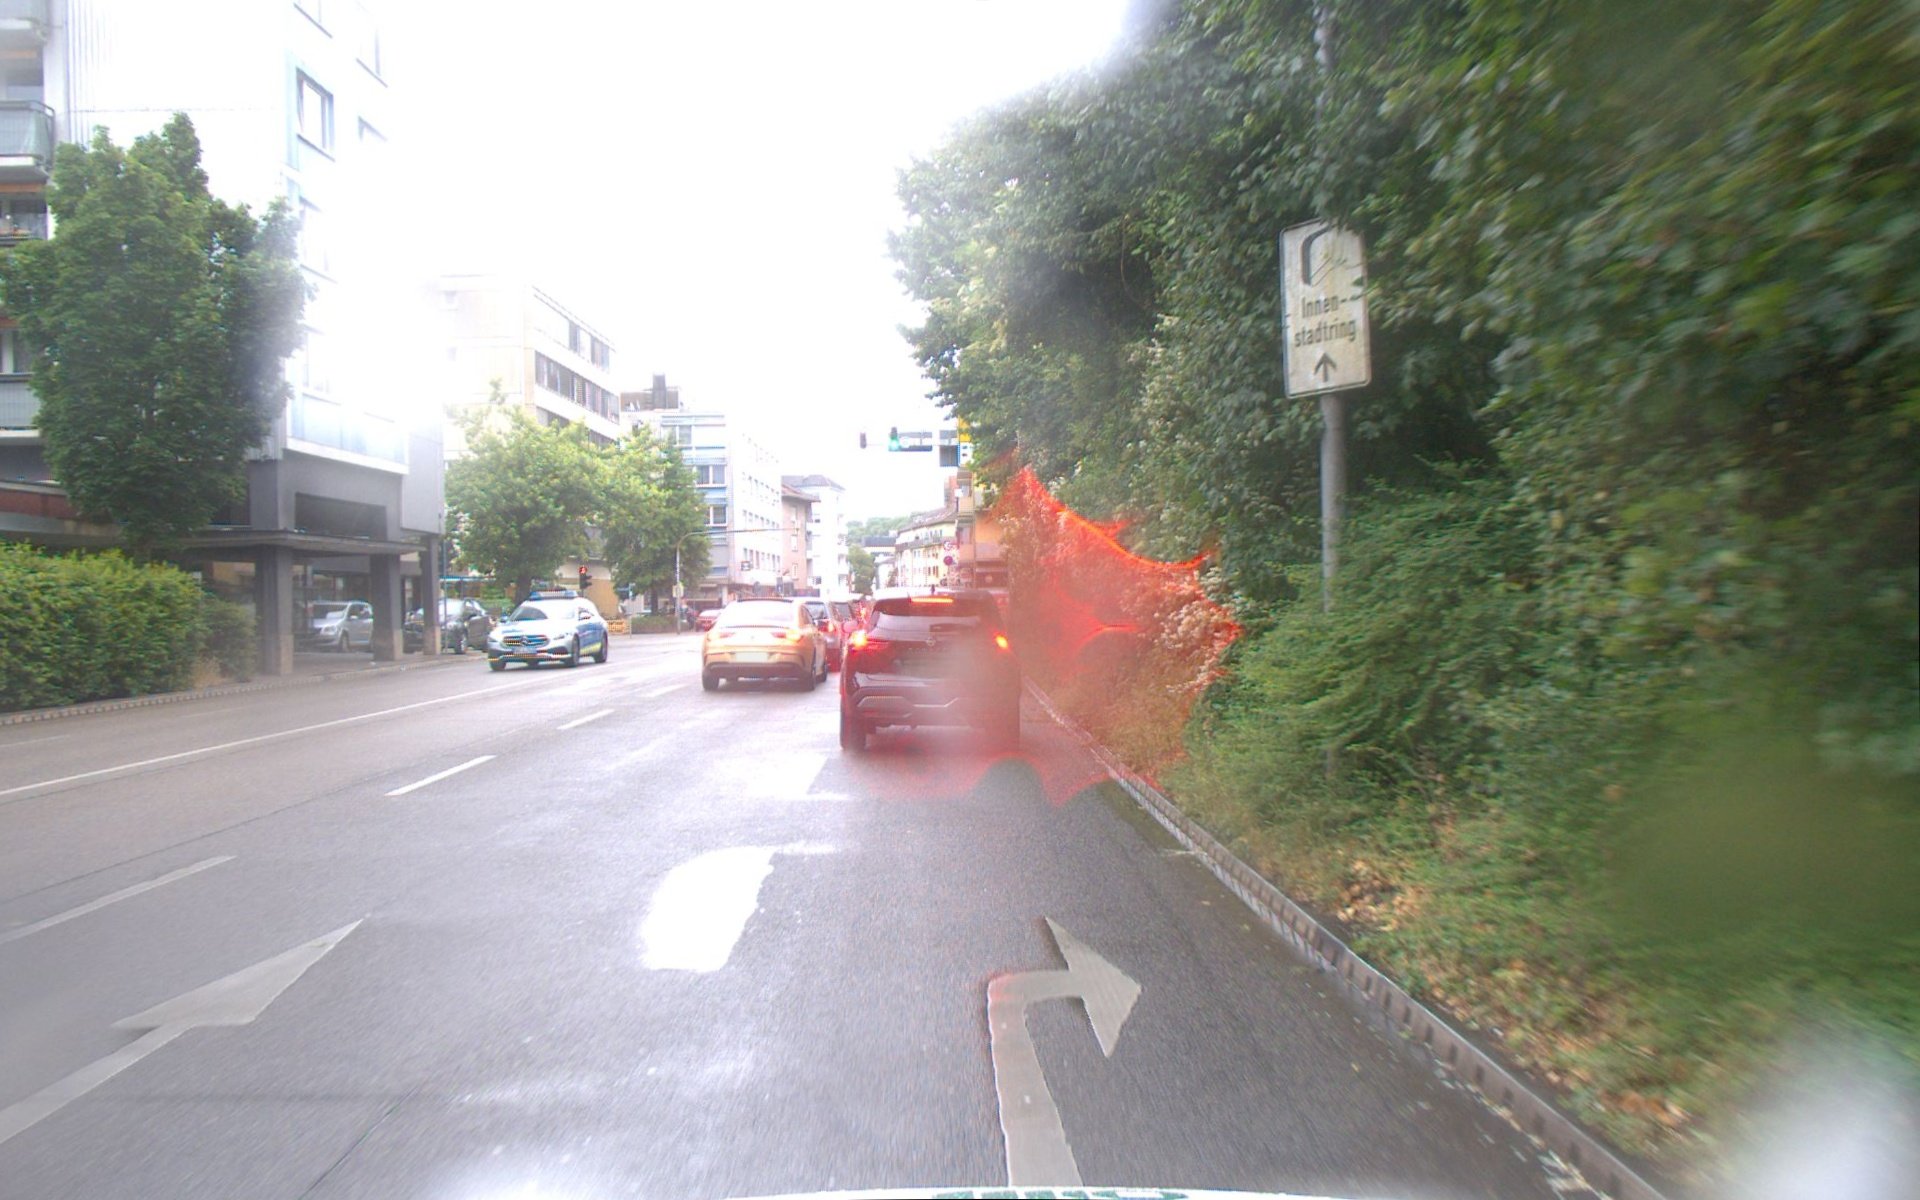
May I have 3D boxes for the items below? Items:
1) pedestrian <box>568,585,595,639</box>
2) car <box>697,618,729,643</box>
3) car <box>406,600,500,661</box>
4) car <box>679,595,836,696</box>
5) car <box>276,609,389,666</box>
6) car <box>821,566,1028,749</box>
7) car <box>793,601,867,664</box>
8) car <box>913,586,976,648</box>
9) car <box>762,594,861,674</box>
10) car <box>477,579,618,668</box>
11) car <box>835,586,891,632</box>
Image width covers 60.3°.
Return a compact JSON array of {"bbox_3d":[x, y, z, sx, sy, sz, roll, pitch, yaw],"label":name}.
[{"bbox_3d":[-14.776,0.465,64.652,0.923,2.049,0.884,-2,0,-10],"label":"pedestrian"},{"bbox_3d":[-16.030,1.950,107.439,1.639,1.504,3.606,-3,0,-2],"label":"car"},{"bbox_3d":[-15.098,0.873,49.464,1.508,1.736,4.286,0,0,0],"label":"car"},{"bbox_3d":[-3.234,0.685,27.360,2.024,1.490,4.586,-1,0,0],"label":"car"},{"bbox_3d":[-19.913,1.155,52.688,1.953,1.684,4.509,-1,0,-1],"label":"car"},{"bbox_3d":[-0.394,0.541,17.533,1.920,1.682,3.998,-1,0,-2],"label":"car"},{"bbox_3d":[-3.129,0.759,40.298,1.580,1.445,3.965,-1,0,-2],"label":"car"},{"bbox_3d":[-0.488,0.566,57.288,1.952,2.049,4.001,-1,0,2],"label":"car"},{"bbox_3d":[-3.039,0.682,34.524,1.708,1.513,4.160,-2,0,-1],"label":"car"},{"bbox_3d":[-9.085,0.495,36.850,1.953,1.780,4.806,-2,0,-1],"label":"car"},{"bbox_3d":[-3.269,0.289,56.314,1.731,1.469,3.998,-2,0,-2],"label":"car"}]
